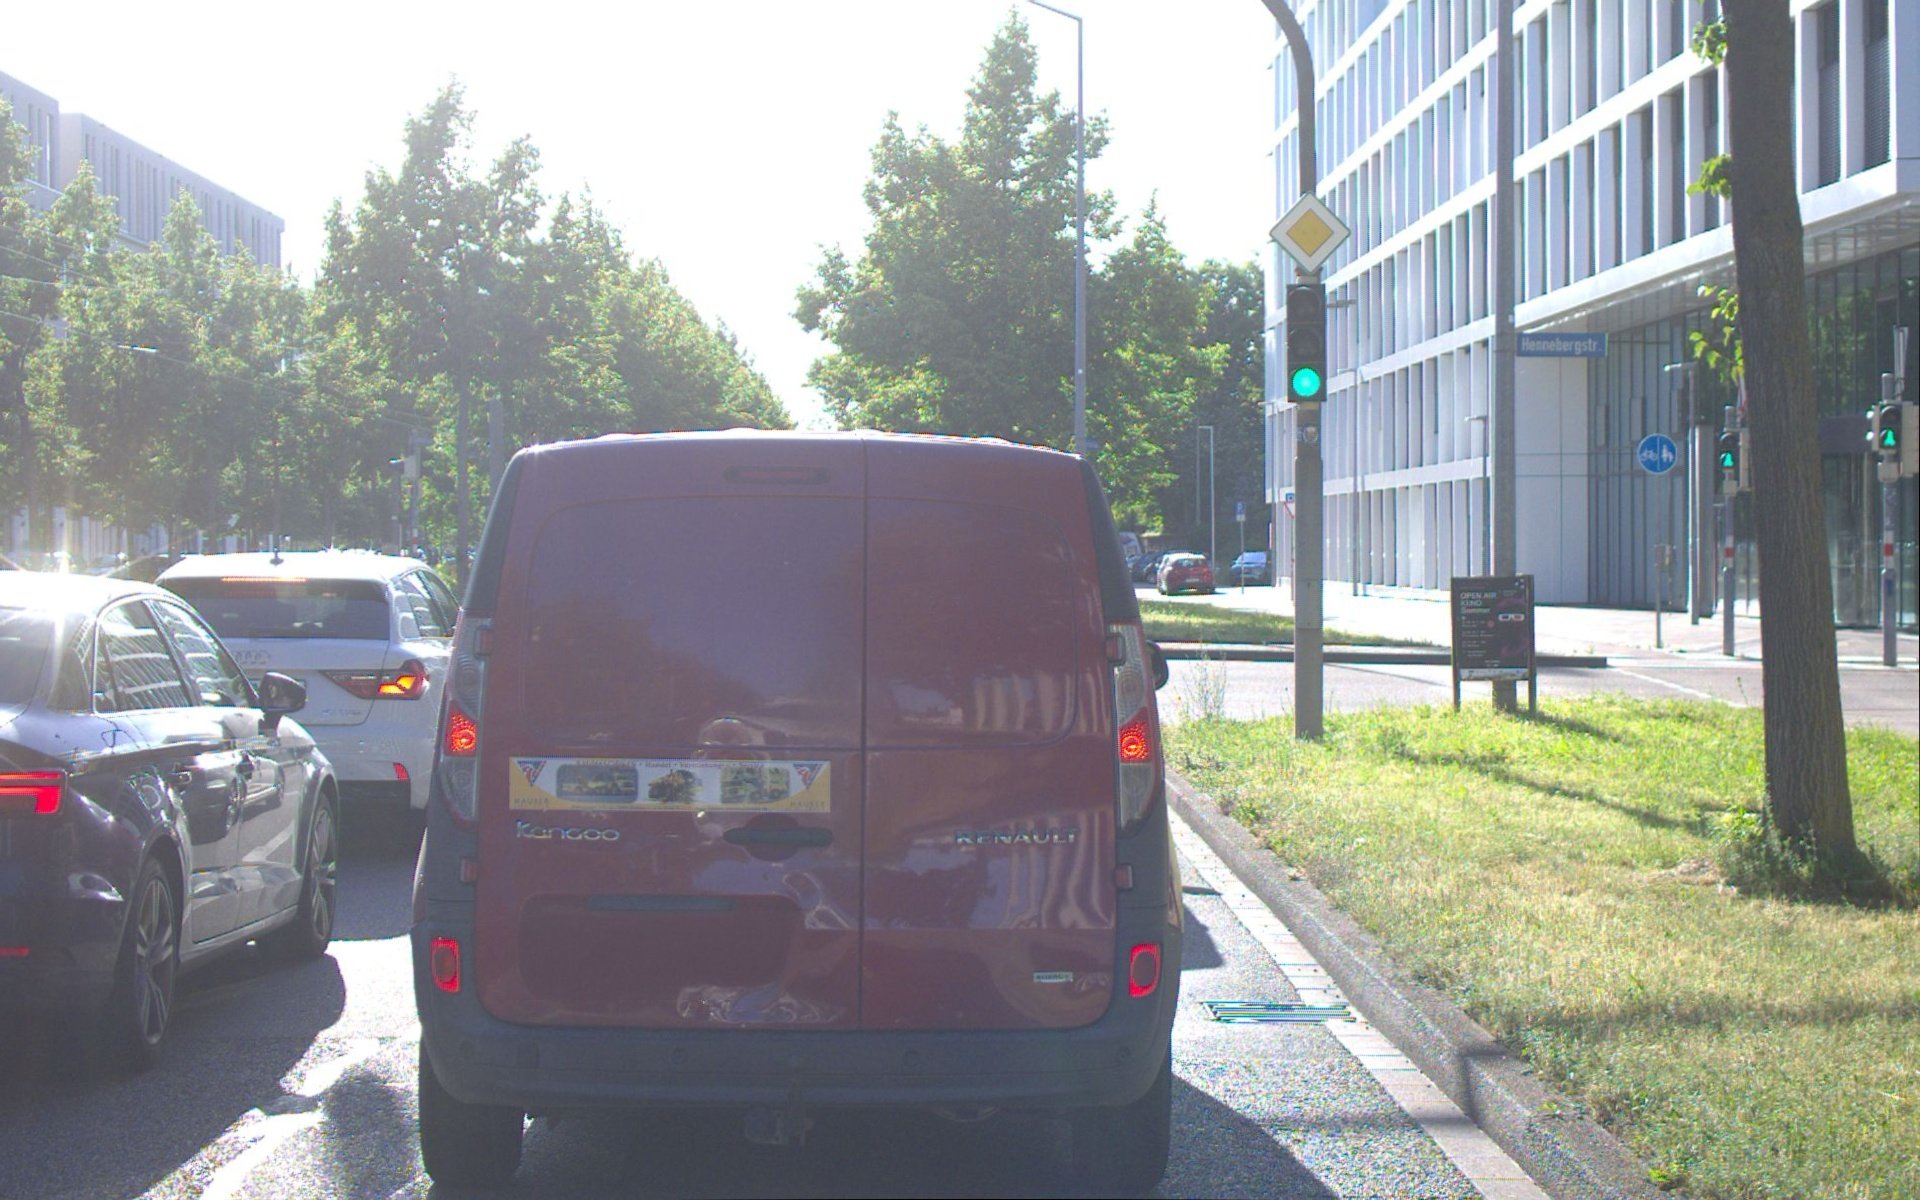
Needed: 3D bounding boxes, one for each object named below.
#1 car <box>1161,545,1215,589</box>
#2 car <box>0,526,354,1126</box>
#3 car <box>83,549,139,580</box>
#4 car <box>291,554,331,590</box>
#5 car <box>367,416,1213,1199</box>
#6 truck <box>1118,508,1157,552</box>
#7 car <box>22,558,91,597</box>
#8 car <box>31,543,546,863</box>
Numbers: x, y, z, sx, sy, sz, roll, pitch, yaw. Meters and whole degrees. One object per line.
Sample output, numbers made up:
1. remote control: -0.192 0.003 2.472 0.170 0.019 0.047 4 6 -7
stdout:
1. car: 8.462 -1.250 127.862 1.758 1.606 3.903 0 1 1
2. car: -3.161 0.534 10.765 1.808 1.522 4.113 0 1 0
3. car: -36.842 -1.534 149.210 1.580 1.337 3.712 0 1 -1
4. car: -37.581 -1.651 199.190 1.728 2.007 4.001 0 1 -3
5. car: -0.358 0.461 9.415 1.808 1.788 4.113 0 1 0
6. truck: 10.233 -4.026 198.659 1.831 2.492 5.933 0 1 -1
7. car: -35.919 -0.916 136.739 1.776 1.523 3.806 0 1 -1
8. car: -3.262 0.429 17.501 1.808 1.430 4.113 0 1 0
